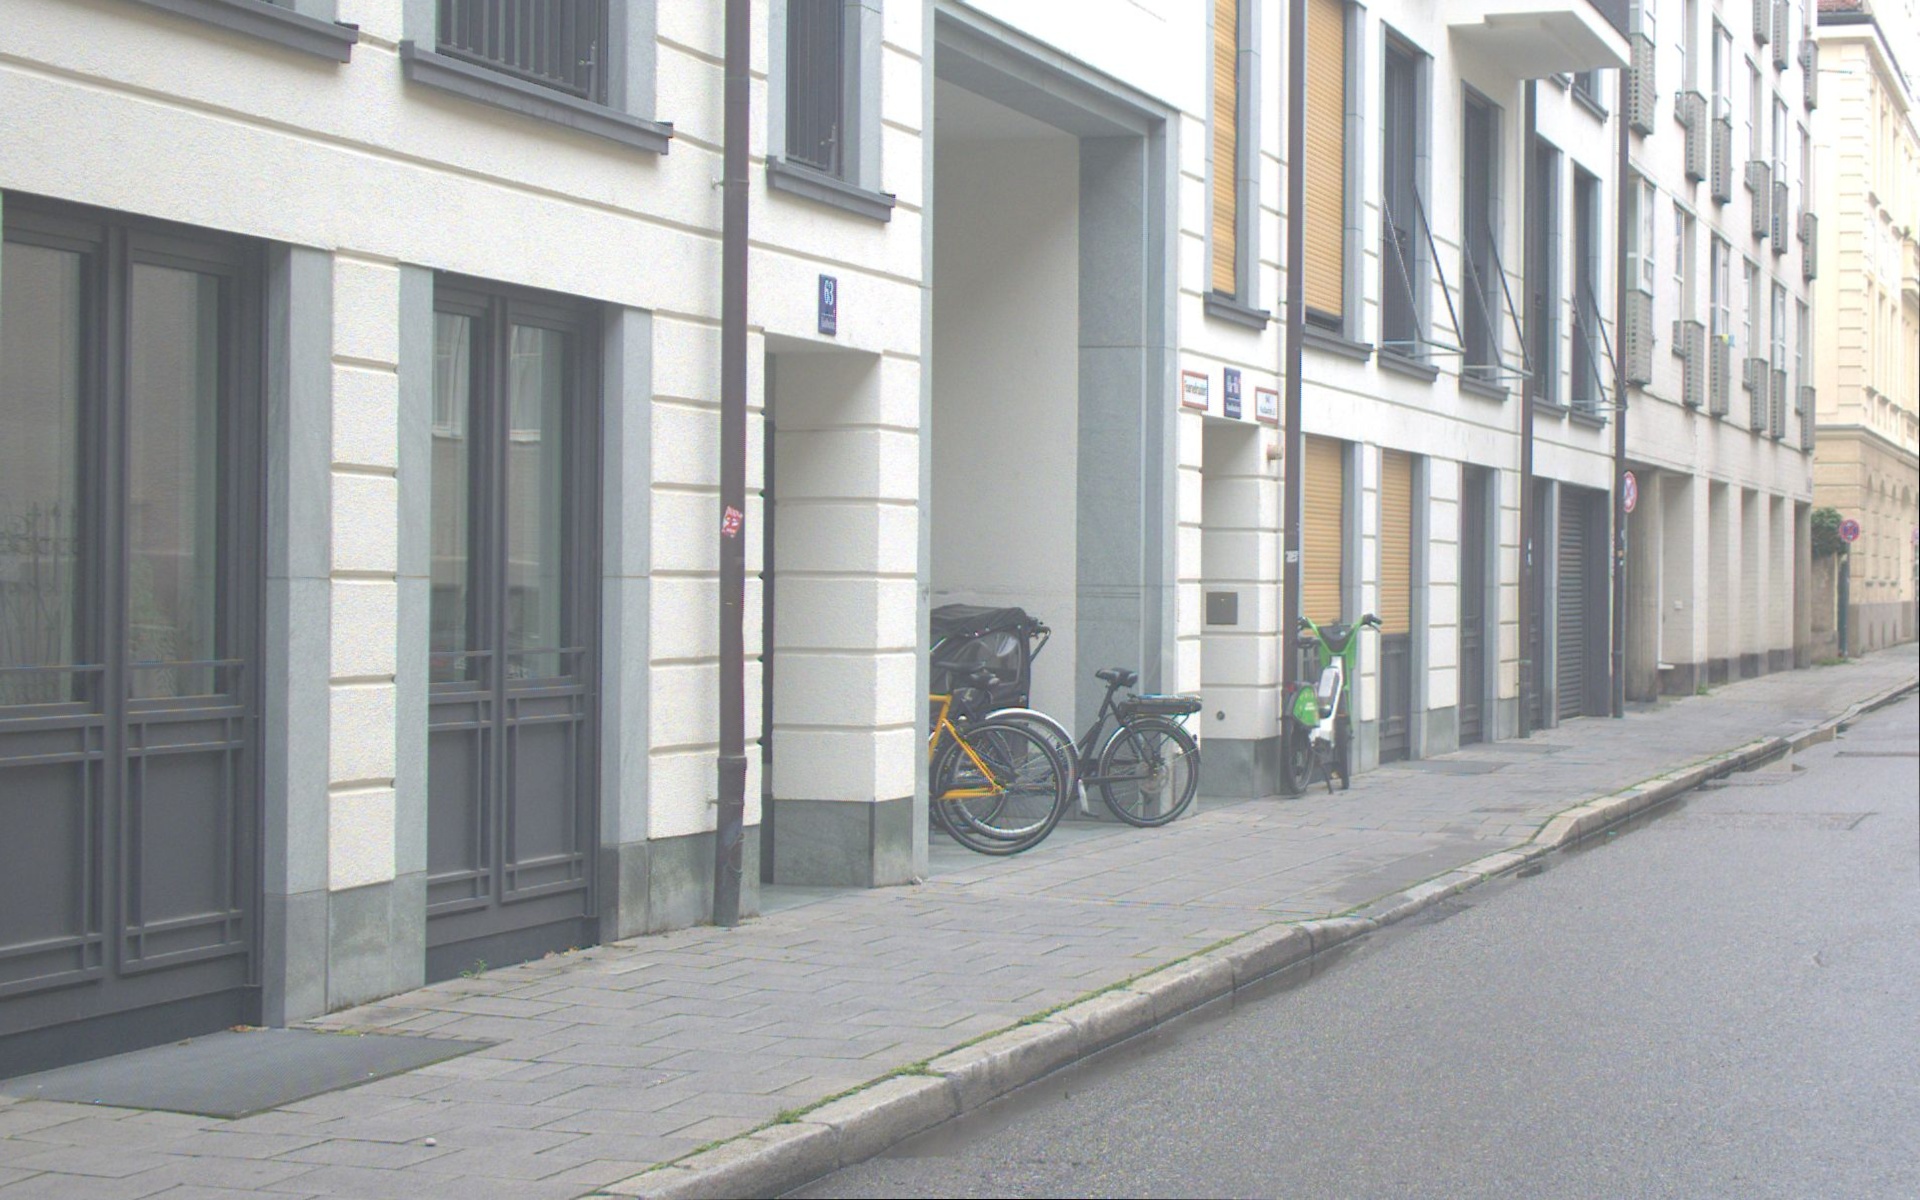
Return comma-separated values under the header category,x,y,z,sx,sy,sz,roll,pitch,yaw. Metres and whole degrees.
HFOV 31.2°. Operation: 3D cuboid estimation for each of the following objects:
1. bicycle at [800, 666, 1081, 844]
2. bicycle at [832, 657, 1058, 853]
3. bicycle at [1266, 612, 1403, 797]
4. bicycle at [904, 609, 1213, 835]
category,x,y,z,sx,sy,sz,roll,pitch,yaw
bicycle,-0.104,0.807,17.902,1.386,0.885,0.380,1,2,-14
bicycle,-0.077,0.774,17.202,1.063,0.944,0.308,1,2,-14
bicycle,2.449,0.660,22.300,0.340,1.142,2.189,0,-1,21
bicycle,0.552,0.664,18.919,1.680,1.189,0.380,1,2,-27
